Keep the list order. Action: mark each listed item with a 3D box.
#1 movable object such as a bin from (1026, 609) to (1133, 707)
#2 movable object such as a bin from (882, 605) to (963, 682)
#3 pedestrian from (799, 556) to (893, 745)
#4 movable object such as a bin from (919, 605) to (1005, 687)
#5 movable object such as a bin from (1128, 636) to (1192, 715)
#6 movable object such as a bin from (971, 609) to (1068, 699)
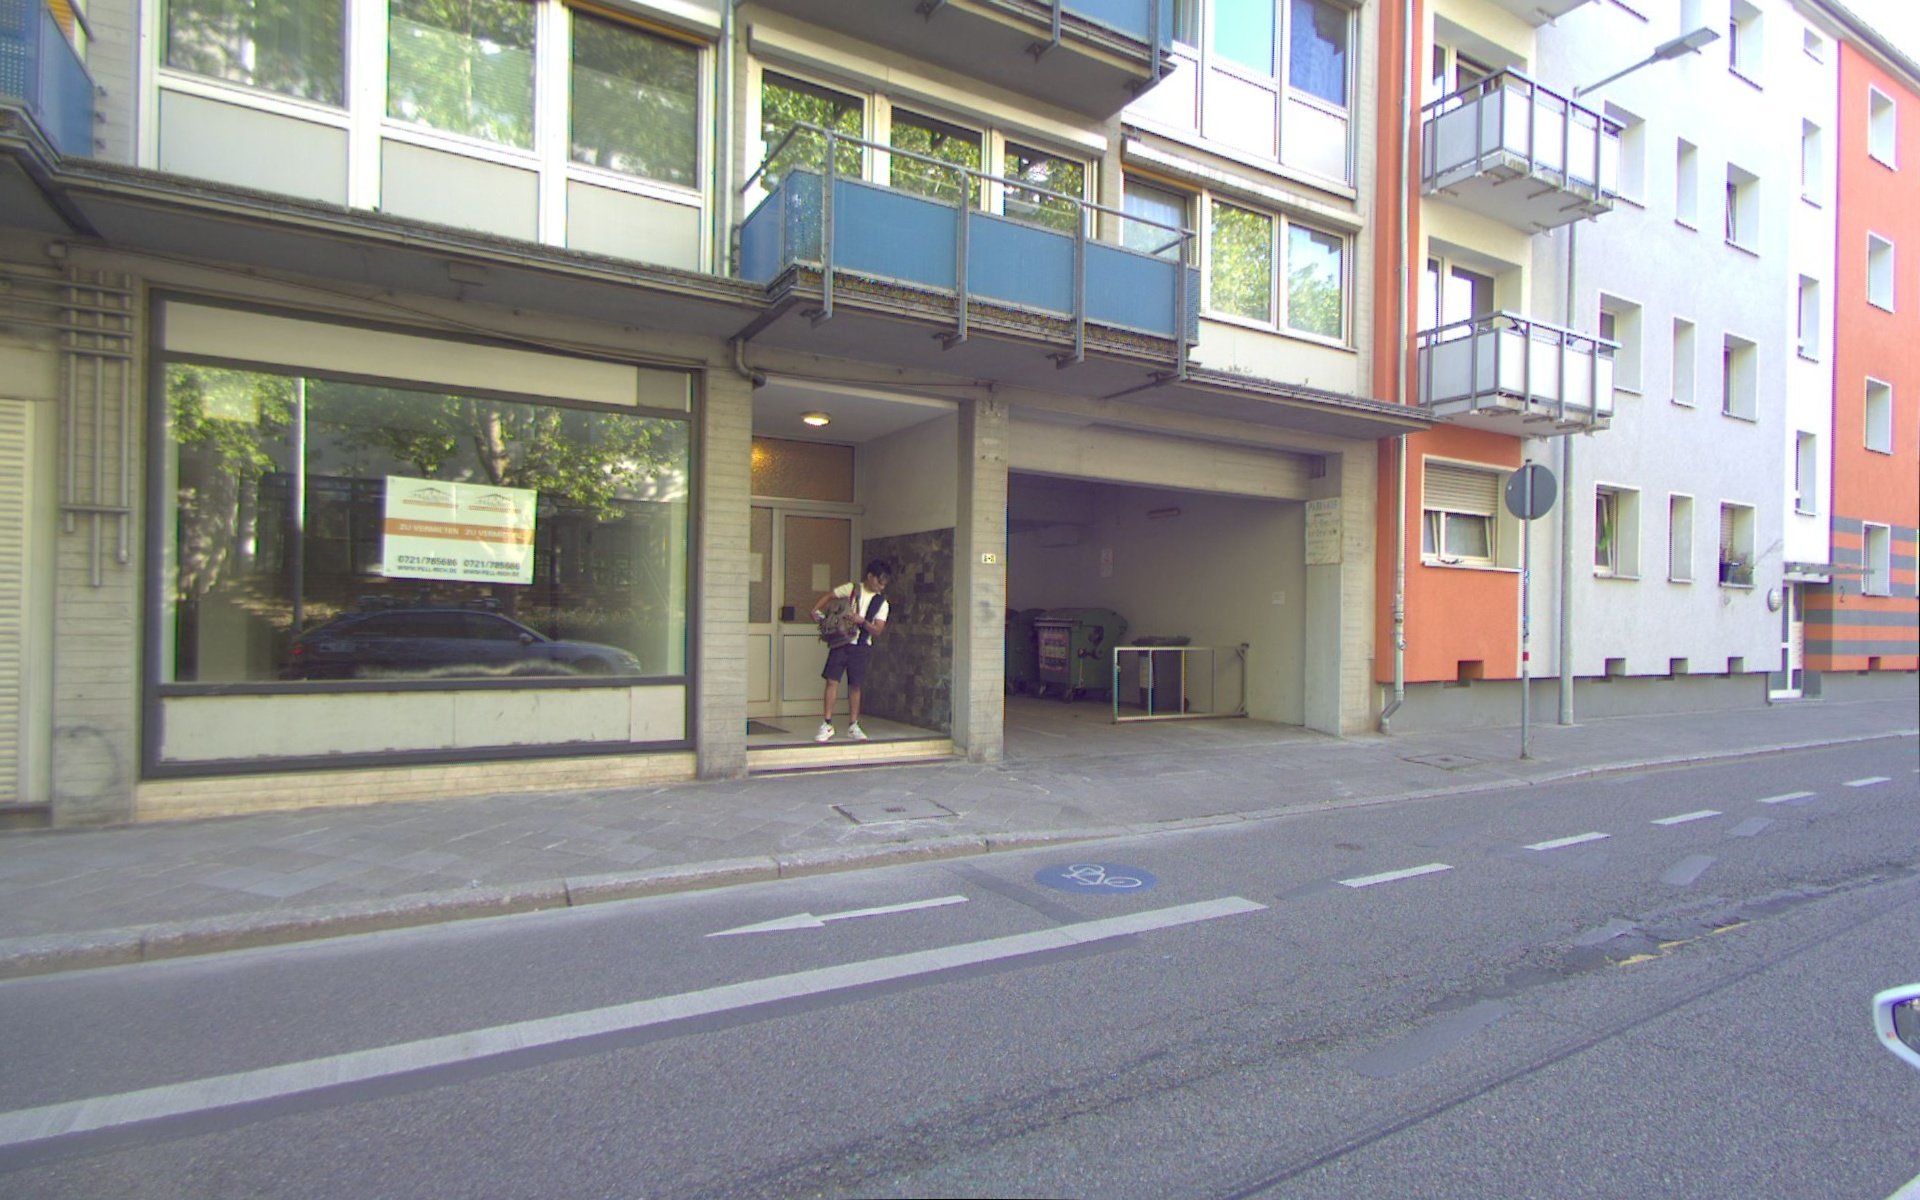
[{"bbox_3d":[1.870,0.881,15.812,1.120,1.444,1.268,2,0,-28],"label":"movable object such as a bin"},{"bbox_3d":[-0.747,0.843,19.789,1.120,1.444,1.268,2,0,-28],"label":"movable object such as a bin"},{"bbox_3d":[-1.041,0.449,9.267,0.778,1.639,0.836,2,0,-5],"label":"pedestrian"},{"bbox_3d":[0.026,0.840,18.699,1.120,1.444,1.268,2,0,-28],"label":"movable object such as a bin"},{"bbox_3d":[2.882,1.080,14.488,0.713,1.094,0.533,2,0,-29],"label":"movable object such as a bin"},{"bbox_3d":[1.002,0.893,17.154,1.120,1.444,1.268,2,0,-28],"label":"movable object such as a bin"}]
